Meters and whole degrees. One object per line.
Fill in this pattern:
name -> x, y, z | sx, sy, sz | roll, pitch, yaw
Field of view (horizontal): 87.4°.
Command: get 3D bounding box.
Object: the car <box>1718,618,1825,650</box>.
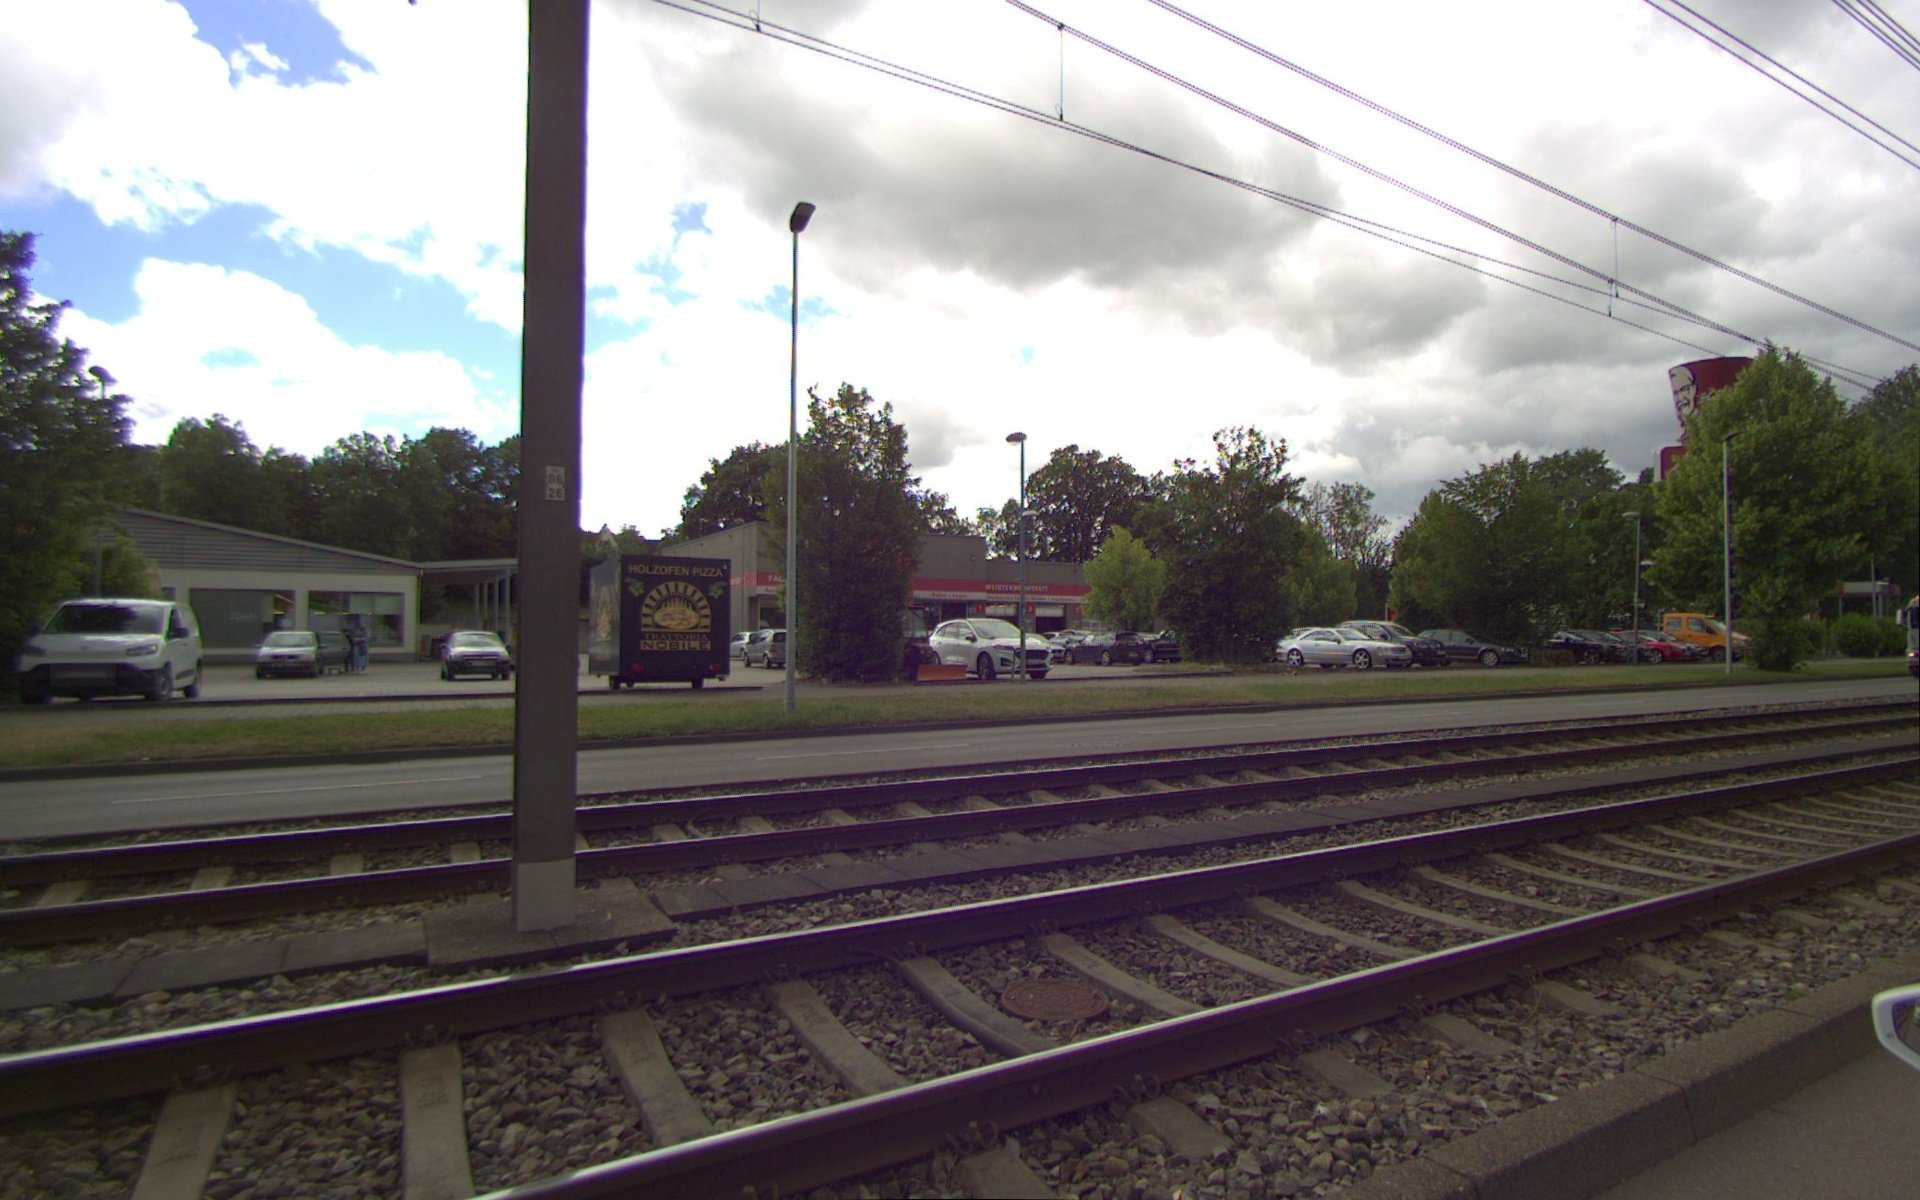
car -> 41.933, 1.763, 52.001 | 1.778, 1.620, 3.963 | 1, -2, -34

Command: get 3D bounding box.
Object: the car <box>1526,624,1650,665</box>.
car -> 26.039, 1.827, 41.766 | 1.859, 1.620, 3.963 | 1, -2, -34

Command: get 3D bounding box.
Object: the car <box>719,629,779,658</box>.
car -> -11.218, 2.285, 53.193 | 1.752, 1.491, 3.716 | 1, -3, -36

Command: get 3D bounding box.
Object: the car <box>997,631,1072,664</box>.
car -> 3.505, 2.241, 47.803 | 1.663, 1.527, 3.934 | 1, -2, -30

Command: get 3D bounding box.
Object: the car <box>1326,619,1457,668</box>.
car -> 15.449, 1.556, 36.162 | 1.859, 1.656, 3.963 | 1, -2, -34

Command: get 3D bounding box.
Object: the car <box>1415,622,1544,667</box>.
car -> 19.813, 1.695, 38.448 | 1.859, 1.620, 3.963 | 1, -2, -34

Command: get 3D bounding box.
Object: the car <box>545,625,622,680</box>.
car -> -12.107, 1.654, 32.179 | 1.668, 1.661, 3.903 | 1, -2, -30

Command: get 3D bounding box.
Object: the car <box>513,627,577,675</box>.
car -> -15.373, 1.864, 37.135 | 1.668, 1.661, 3.903 | 1, -2, -30

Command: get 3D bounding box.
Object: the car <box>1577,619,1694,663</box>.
car -> 30.140, 1.774, 44.925 | 1.859, 1.821, 3.962 | 1, -1, -34

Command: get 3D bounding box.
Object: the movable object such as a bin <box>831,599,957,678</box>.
movable object such as a bin -> -1.854, 1.030, 26.872 | 1.661, 1.963, 3.964 | 1, -2, -33

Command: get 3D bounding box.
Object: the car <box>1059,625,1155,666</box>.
car -> 6.289, 1.948, 43.410 | 1.917, 1.706, 4.265 | 1, -2, -30

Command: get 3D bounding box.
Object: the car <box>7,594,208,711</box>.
car -> -14.495, 0.872, 17.351 | 1.973, 1.750, 4.199 | 1, -2, -31

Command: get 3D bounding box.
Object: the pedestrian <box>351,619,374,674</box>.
pedestrian -> -20.609, 1.586, 34.650 | 0.656, 1.879, 0.542 | 1, -2, -30

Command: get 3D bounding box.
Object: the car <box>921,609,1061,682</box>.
car -> 0.757, 1.206, 27.127 | 1.859, 1.821, 3.963 | 1, -2, -34

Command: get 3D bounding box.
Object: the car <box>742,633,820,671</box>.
car -> -7.320, 2.085, 40.881 | 1.664, 1.491, 3.716 | 1, -2, -36

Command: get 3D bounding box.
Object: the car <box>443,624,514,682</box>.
car -> -14.722, 1.589, 30.623 | 1.668, 1.661, 3.903 | 1, -2, -30

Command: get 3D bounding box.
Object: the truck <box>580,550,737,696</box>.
truck -> -6.675, 0.520, 21.973 | 2.350, 2.859, 3.966 | 1, -2, -32

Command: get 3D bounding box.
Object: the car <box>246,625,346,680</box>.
car -> -21.542, 1.670, 32.760 | 2.438, 1.661, 3.903 | 1, -2, -30

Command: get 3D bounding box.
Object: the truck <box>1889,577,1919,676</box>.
truck -> 41.157, 1.080, 40.608 | 10.994, 3.712, 2.691 | 1, -2, -33

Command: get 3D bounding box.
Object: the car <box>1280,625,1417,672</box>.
car -> 13.285, 1.619, 34.590 | 1.662, 1.491, 4.284 | 1, -2, -32

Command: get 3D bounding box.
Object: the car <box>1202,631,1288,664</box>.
car -> 13.623, 2.249, 48.279 | 1.663, 1.527, 3.934 | 1, -2, -30

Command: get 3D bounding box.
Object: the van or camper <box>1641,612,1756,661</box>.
van or camper -> 34.684, 1.671, 47.270 | 1.859, 2.163, 3.962 | 1, -1, -34
